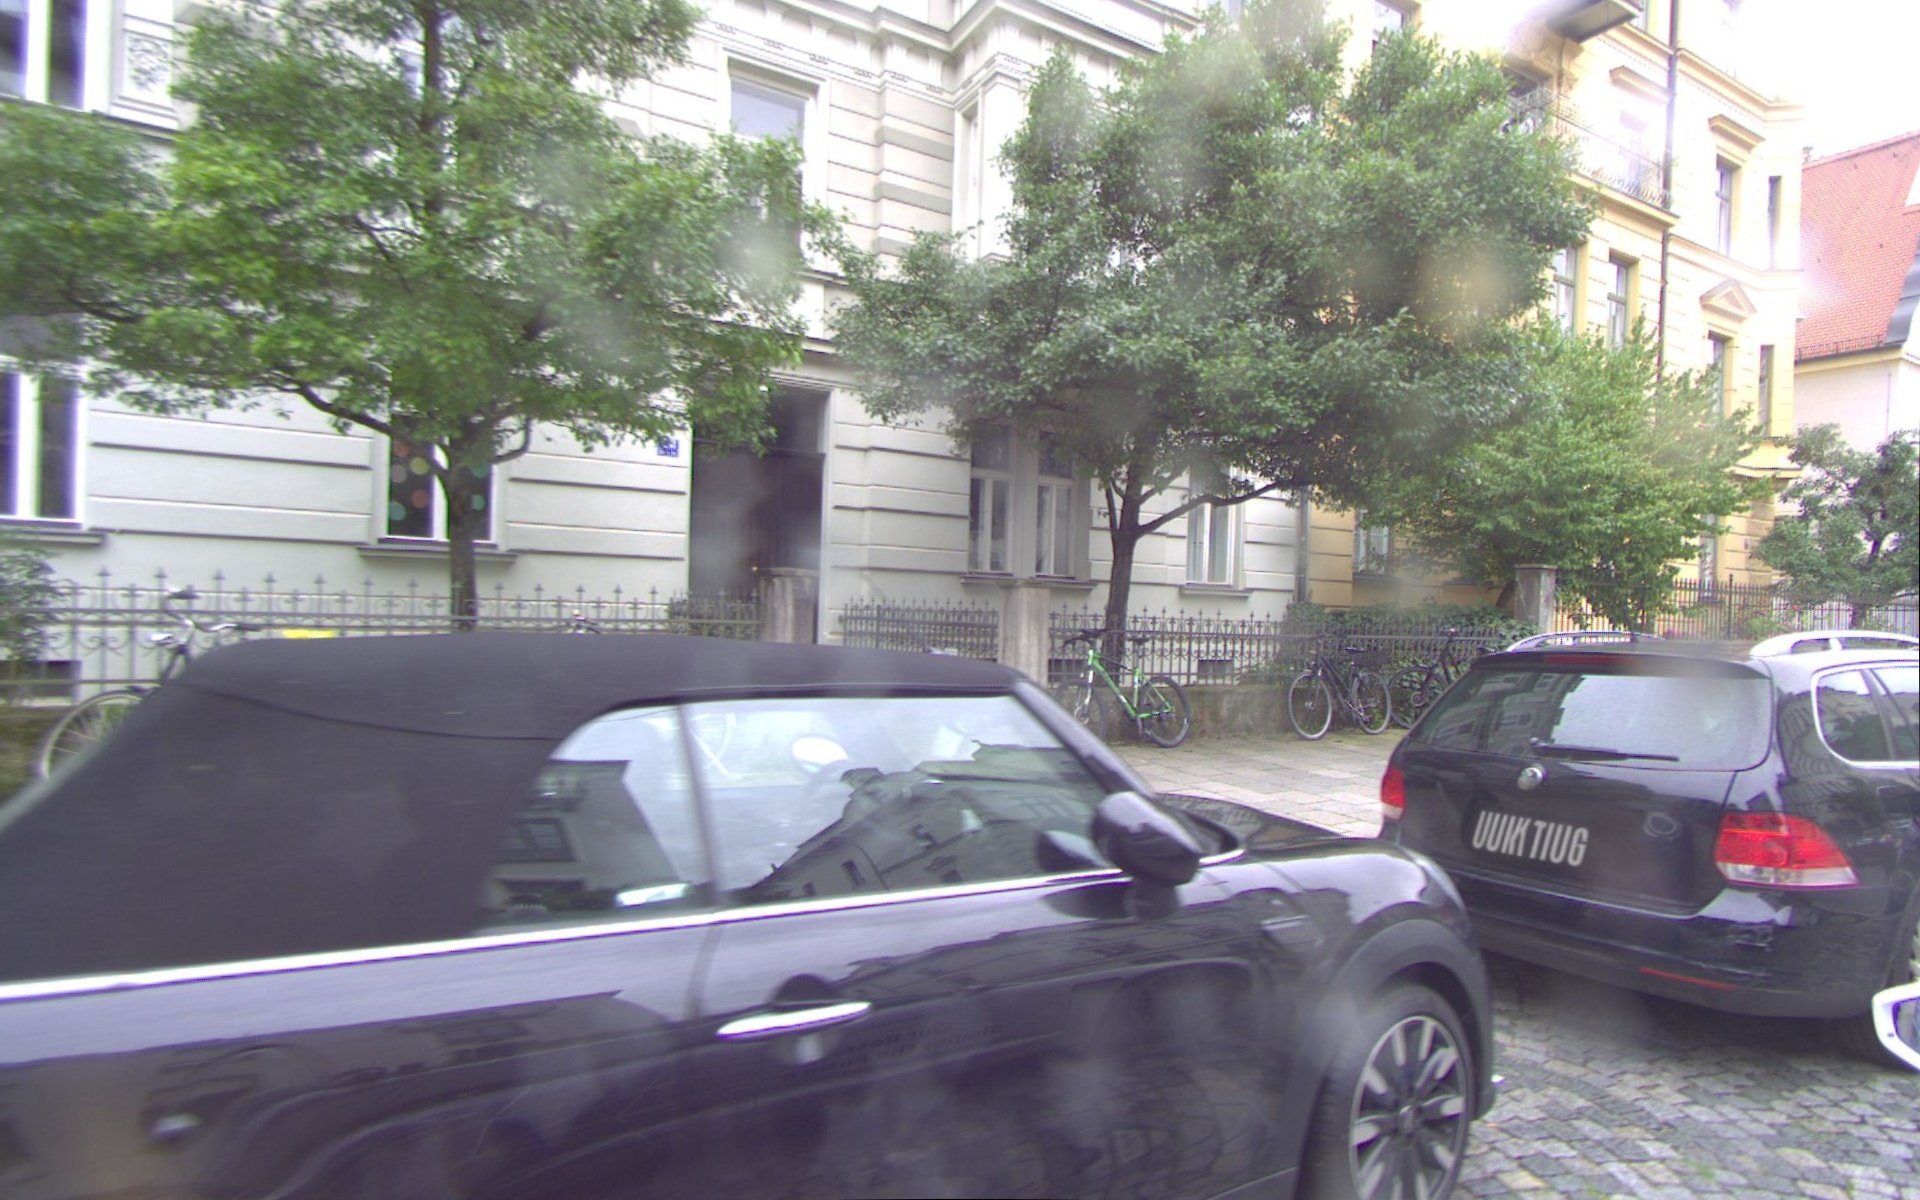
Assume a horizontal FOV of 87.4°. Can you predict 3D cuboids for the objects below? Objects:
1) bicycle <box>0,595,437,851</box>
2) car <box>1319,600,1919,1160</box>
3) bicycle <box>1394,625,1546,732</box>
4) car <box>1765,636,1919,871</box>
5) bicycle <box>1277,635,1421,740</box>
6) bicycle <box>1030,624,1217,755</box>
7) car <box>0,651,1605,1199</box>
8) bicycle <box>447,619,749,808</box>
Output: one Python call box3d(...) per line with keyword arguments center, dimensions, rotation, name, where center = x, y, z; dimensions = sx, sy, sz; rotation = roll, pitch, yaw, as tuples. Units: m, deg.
box3d(center=(-4.093, 0.640, 5.683), dimensions=(1.957, 1.265, 0.498), rotation=(2, 1, -31), name="bicycle")
box3d(center=(3.828, 0.902, 4.686), dimensions=(4.286, 1.560, 1.719), rotation=(2, -4, -31), name="car")
box3d(center=(5.847, 0.898, 11.514), dimensions=(1.737, 1.159, 0.418), rotation=(2, 1, -18), name="bicycle")
box3d(center=(8.157, 1.082, 7.620), dimensions=(3.954, 1.566, 1.913), rotation=(2, -4, -31), name="car")
box3d(center=(4.185, 0.914, 10.762), dimensions=(1.744, 1.041, 0.416), rotation=(2, 1, -30), name="bicycle")
box3d(center=(1.533, 0.800, 9.266), dimensions=(1.810, 1.117, 0.370), rotation=(1, 0, -27), name="bicycle")
box3d(center=(-0.331, 0.912, 2.351), dimensions=(3.685, 1.536, 1.694), rotation=(1, -2, -32), name="car")
box3d(center=(-2.409, 0.730, 6.814), dimensions=(1.866, 1.148, 0.361), rotation=(2, 1, -31), name="bicycle")
